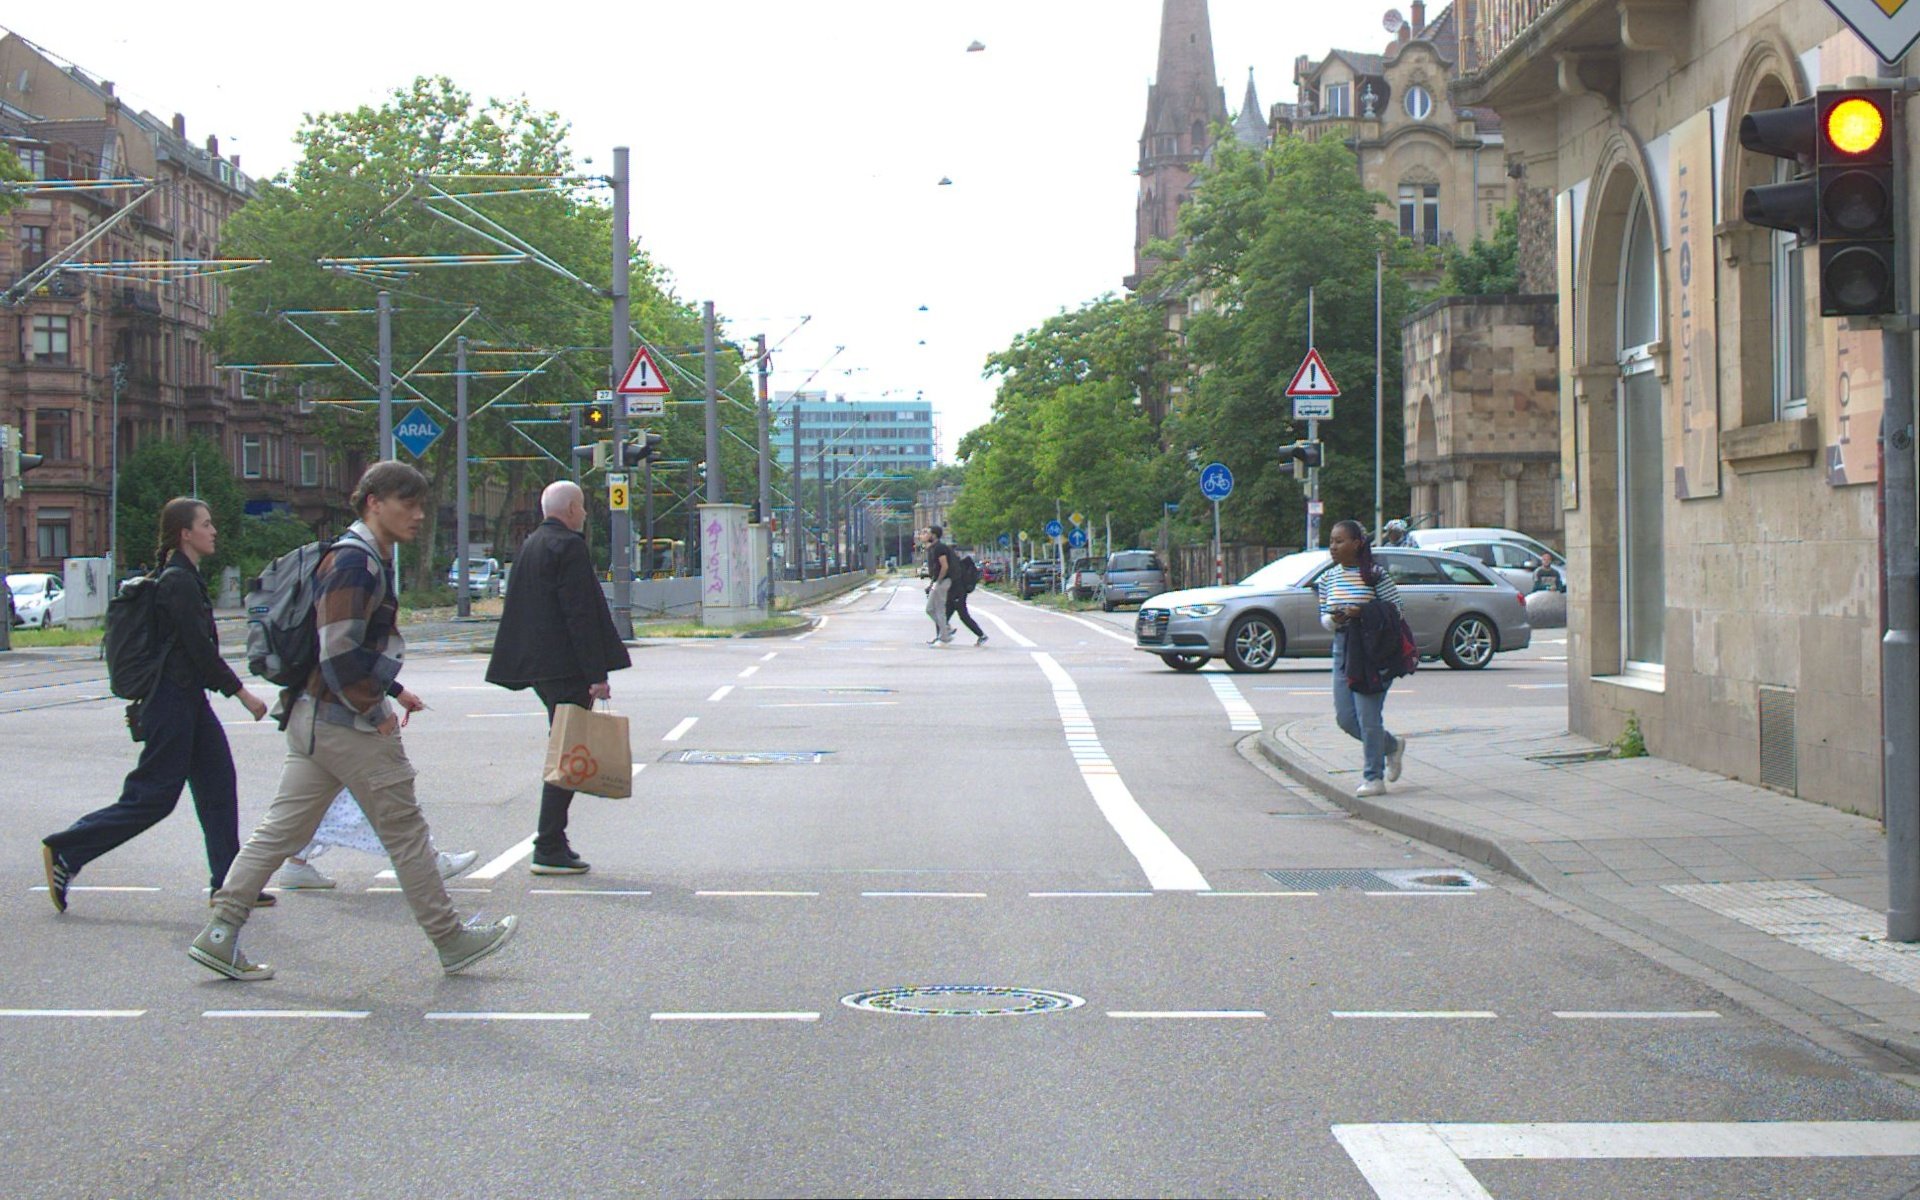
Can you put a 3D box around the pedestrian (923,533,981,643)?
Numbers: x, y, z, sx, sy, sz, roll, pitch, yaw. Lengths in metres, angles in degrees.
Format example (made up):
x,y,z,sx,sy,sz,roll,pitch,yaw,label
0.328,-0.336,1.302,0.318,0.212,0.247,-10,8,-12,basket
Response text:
x,y,z,sx,sy,sz,roll,pitch,yaw,label
-0.125,-0.182,52.323,0.850,1.648,0.508,1,0,-2,pedestrian

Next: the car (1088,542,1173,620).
x,y,z,sx,sy,sz,roll,pitch,yaw,label
4.573,-0.523,92.563,1.993,2.007,4.000,1,1,-1,car

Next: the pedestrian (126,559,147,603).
x,y,z,sx,sy,sz,roll,pitch,yaw,label
-27.370,-0.642,114.269,0.452,1.455,0.524,1,1,44,pedestrian

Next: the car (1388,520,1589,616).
x,y,z,sx,sy,sz,roll,pitch,yaw,label
10.830,-0.651,70.645,3.799,1.897,2.000,1,1,0,car

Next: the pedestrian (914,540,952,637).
x,y,z,sx,sy,sz,roll,pitch,yaw,label
-0.429,-0.184,54.769,0.545,1.531,0.466,1,0,-5,pedestrian

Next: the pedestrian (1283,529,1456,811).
x,y,z,sx,sy,sz,roll,pitch,yaw,label
2.504,0.411,20.998,0.671,1.674,0.866,1,1,38,pedestrian

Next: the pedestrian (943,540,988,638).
x,y,z,sx,sy,sz,roll,pitch,yaw,label
0.089,-0.170,54.308,0.653,1.531,0.466,1,0,-5,pedestrian

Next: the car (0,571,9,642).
x,y,z,sx,sy,sz,roll,pitch,yaw,label
-22.112,0.145,74.644,1.894,1.552,3.836,1,1,-1,car

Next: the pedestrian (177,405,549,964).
x,y,z,sx,sy,sz,roll,pitch,yaw,label
-1.982,0.265,11.368,1.130,1.772,0.628,0,0,-18,pedestrian

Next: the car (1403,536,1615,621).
x,y,z,sx,sy,sz,roll,pitch,yaw,label
10.707,-0.422,67.236,3.799,1.595,2.000,1,1,0,car

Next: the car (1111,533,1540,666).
x,y,z,sx,sy,sz,roll,pitch,yaw,label
4.330,0.000,40.728,4.716,1.505,1.839,1,1,-22,car

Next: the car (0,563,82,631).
x,y,z,sx,sy,sz,roll,pitch,yaw,label
-22.237,-0.097,81.550,1.894,1.552,3.836,1,1,-1,car

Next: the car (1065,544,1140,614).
x,y,z,sx,sy,sz,roll,pitch,yaw,label
4.209,-0.628,101.997,1.993,2.007,4.000,1,1,-1,car

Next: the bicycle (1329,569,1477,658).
x,y,z,sx,sy,sz,roll,pitch,yaw,label
5.786,0.180,44.839,1.899,1.138,0.629,0,1,-29,bicycle

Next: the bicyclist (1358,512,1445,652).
x,y,z,sx,sy,sz,roll,pitch,yaw,label
5.759,-0.233,44.827,0.965,1.813,0.532,1,0,-29,bicyclist

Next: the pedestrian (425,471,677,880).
x,y,z,sx,sy,sz,roll,pitch,yaw,label
-1.841,0.320,15.470,0.917,1.778,0.646,1,1,37,pedestrian

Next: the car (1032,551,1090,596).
x,y,z,sx,sy,sz,roll,pitch,yaw,label
3.828,-1.012,130.810,1.993,1.602,4.164,-2,1,-1,car

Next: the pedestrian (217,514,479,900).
x,y,z,sx,sy,sz,roll,pitch,yaw,label
-2.609,0.434,14.686,0.702,1.587,0.829,1,1,37,pedestrian

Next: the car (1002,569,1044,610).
x,y,z,sx,sy,sz,roll,pitch,yaw,label
3.174,-0.553,174.522,1.993,2.007,4.000,1,1,-1,car

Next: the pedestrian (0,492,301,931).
x,y,z,sx,sy,sz,roll,pitch,yaw,label
-3.180,0.412,13.476,0.627,1.647,0.994,1,1,37,pedestrian
